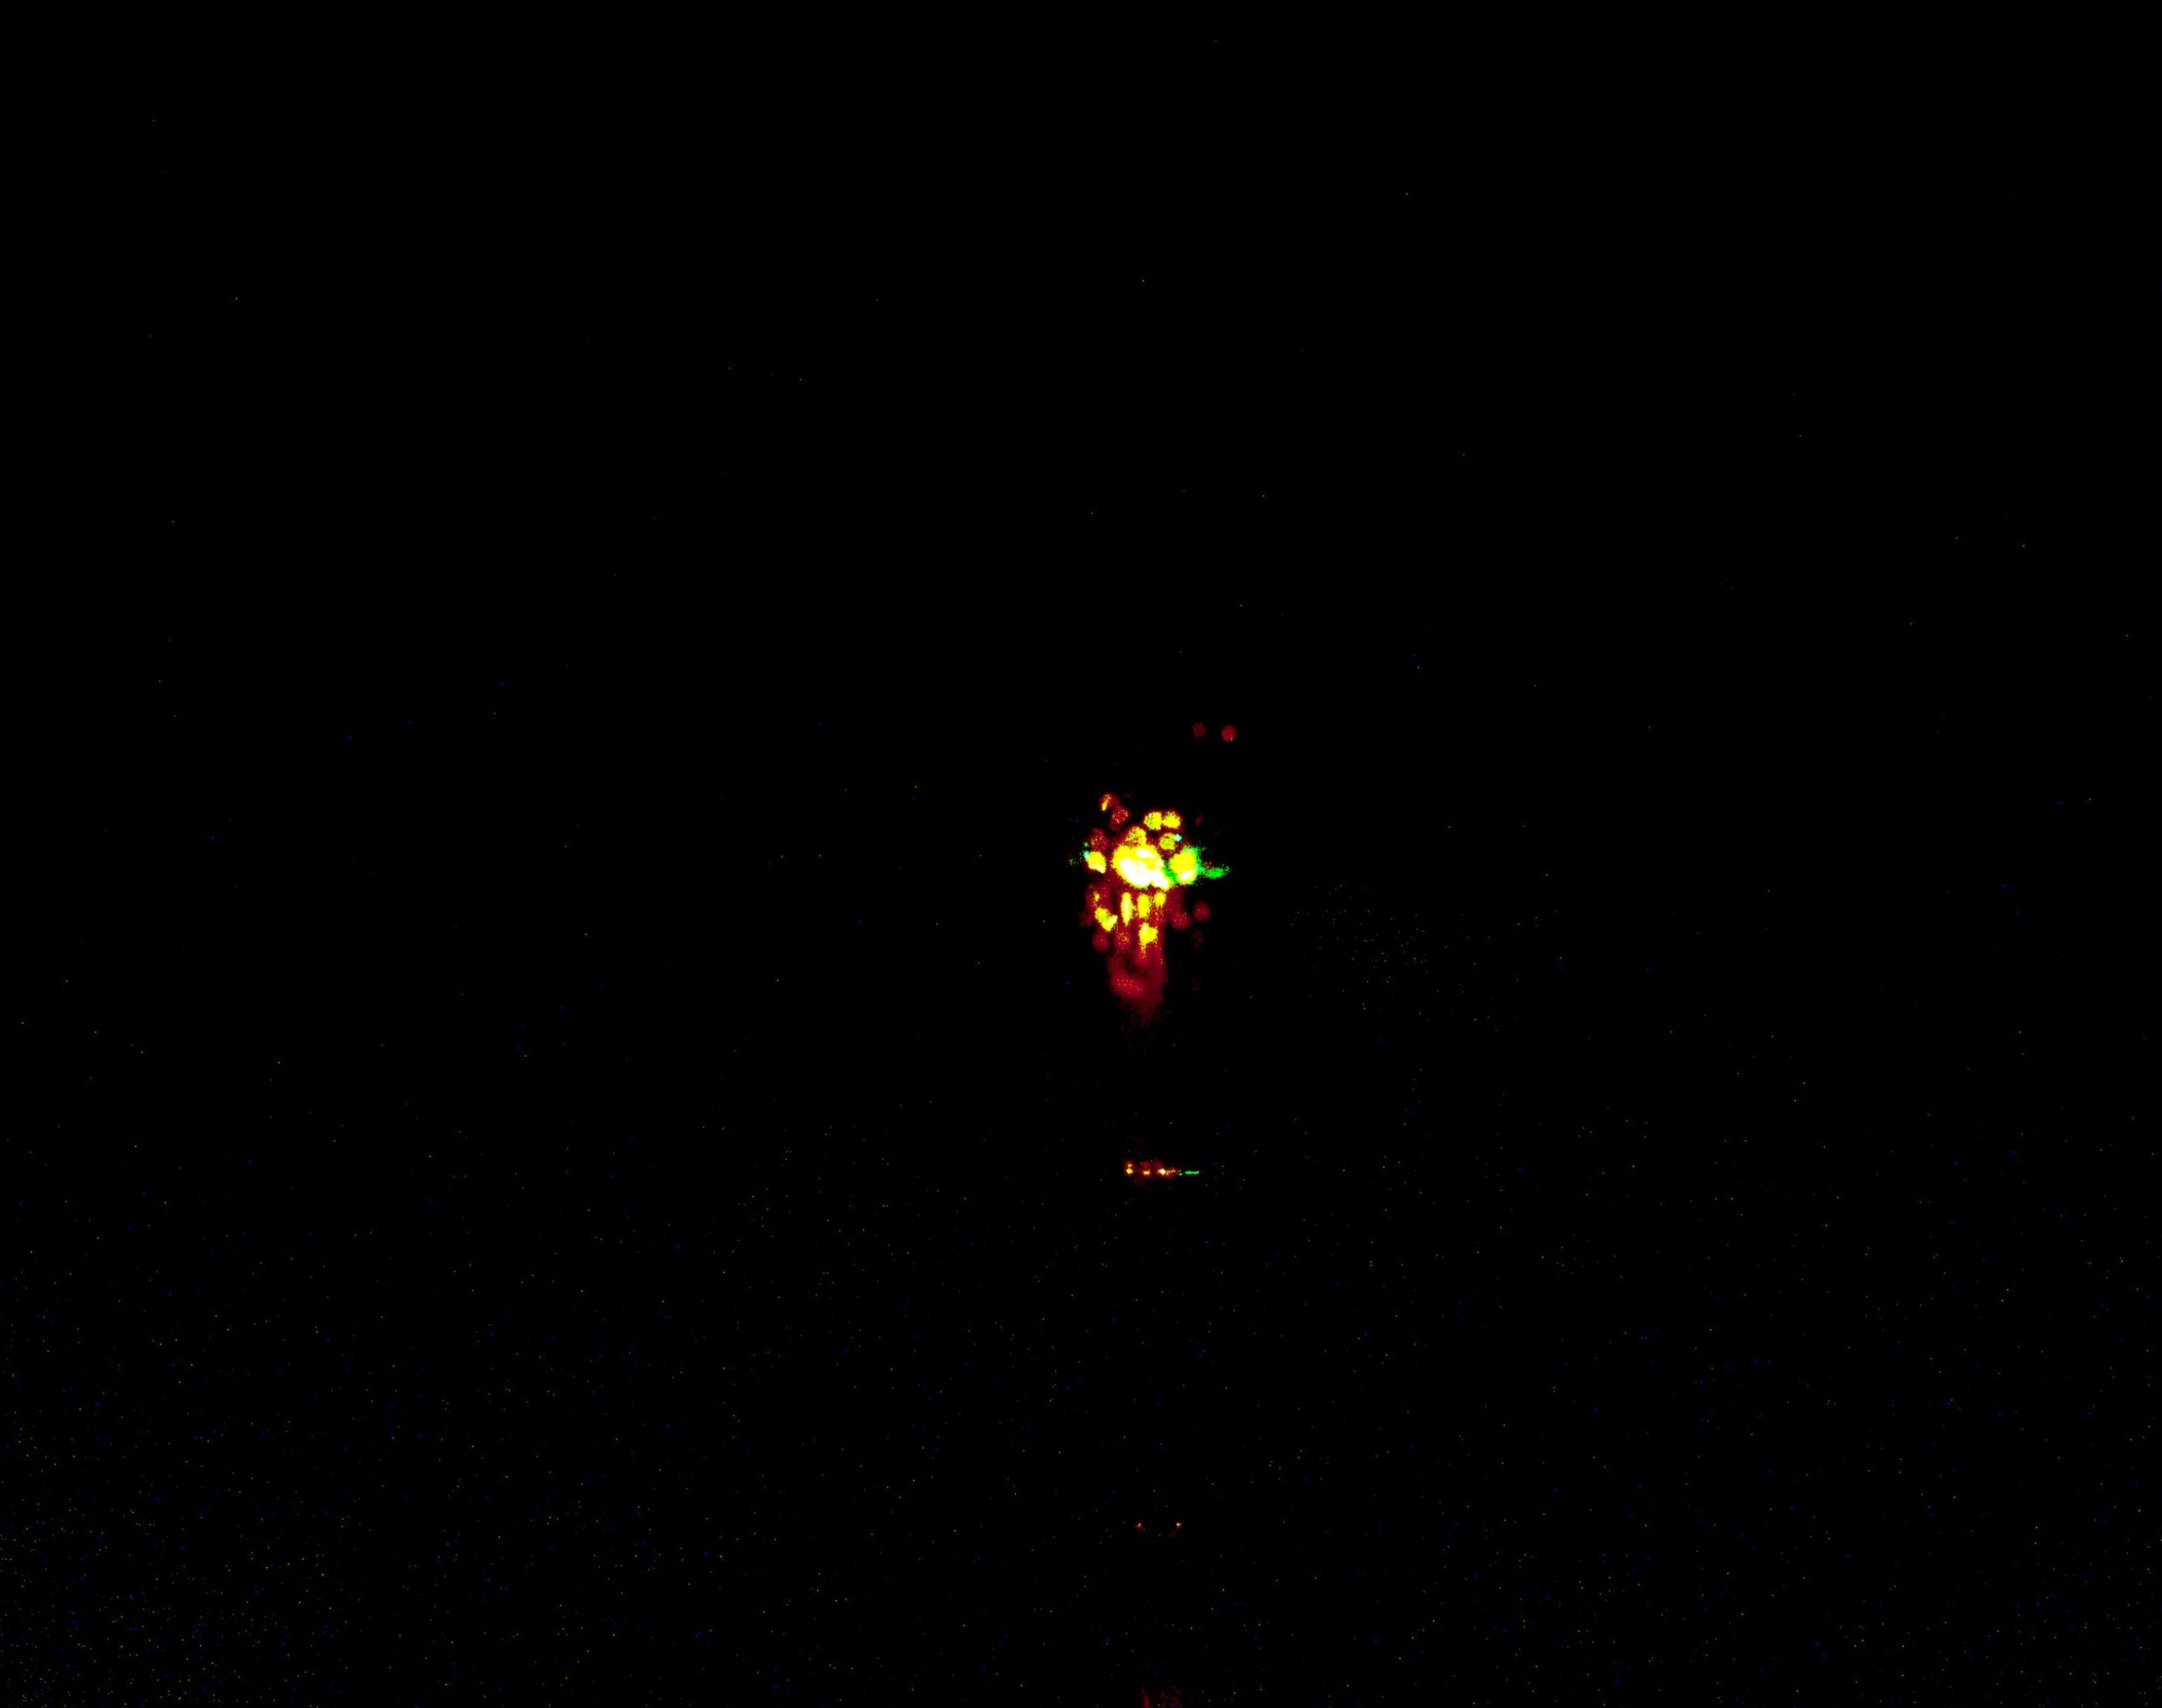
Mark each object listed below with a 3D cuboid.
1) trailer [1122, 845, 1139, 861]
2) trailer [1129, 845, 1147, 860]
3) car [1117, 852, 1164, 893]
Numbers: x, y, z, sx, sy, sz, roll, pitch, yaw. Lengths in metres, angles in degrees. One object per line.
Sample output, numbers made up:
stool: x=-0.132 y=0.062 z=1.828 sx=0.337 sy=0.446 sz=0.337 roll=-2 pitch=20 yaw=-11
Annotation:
trailer: x=7.779 y=-0.158 z=128.098 sx=1.630 sy=2.365 sz=4.636 roll=0 pitch=-1 yaw=-11
trailer: x=8.629 y=-0.196 z=123.351 sx=1.606 sy=2.352 sz=4.413 roll=0 pitch=-1 yaw=-11
car: x=2.606 y=0.738 z=34.994 sx=1.792 sy=1.628 sz=3.622 roll=-2 pitch=0 yaw=7
